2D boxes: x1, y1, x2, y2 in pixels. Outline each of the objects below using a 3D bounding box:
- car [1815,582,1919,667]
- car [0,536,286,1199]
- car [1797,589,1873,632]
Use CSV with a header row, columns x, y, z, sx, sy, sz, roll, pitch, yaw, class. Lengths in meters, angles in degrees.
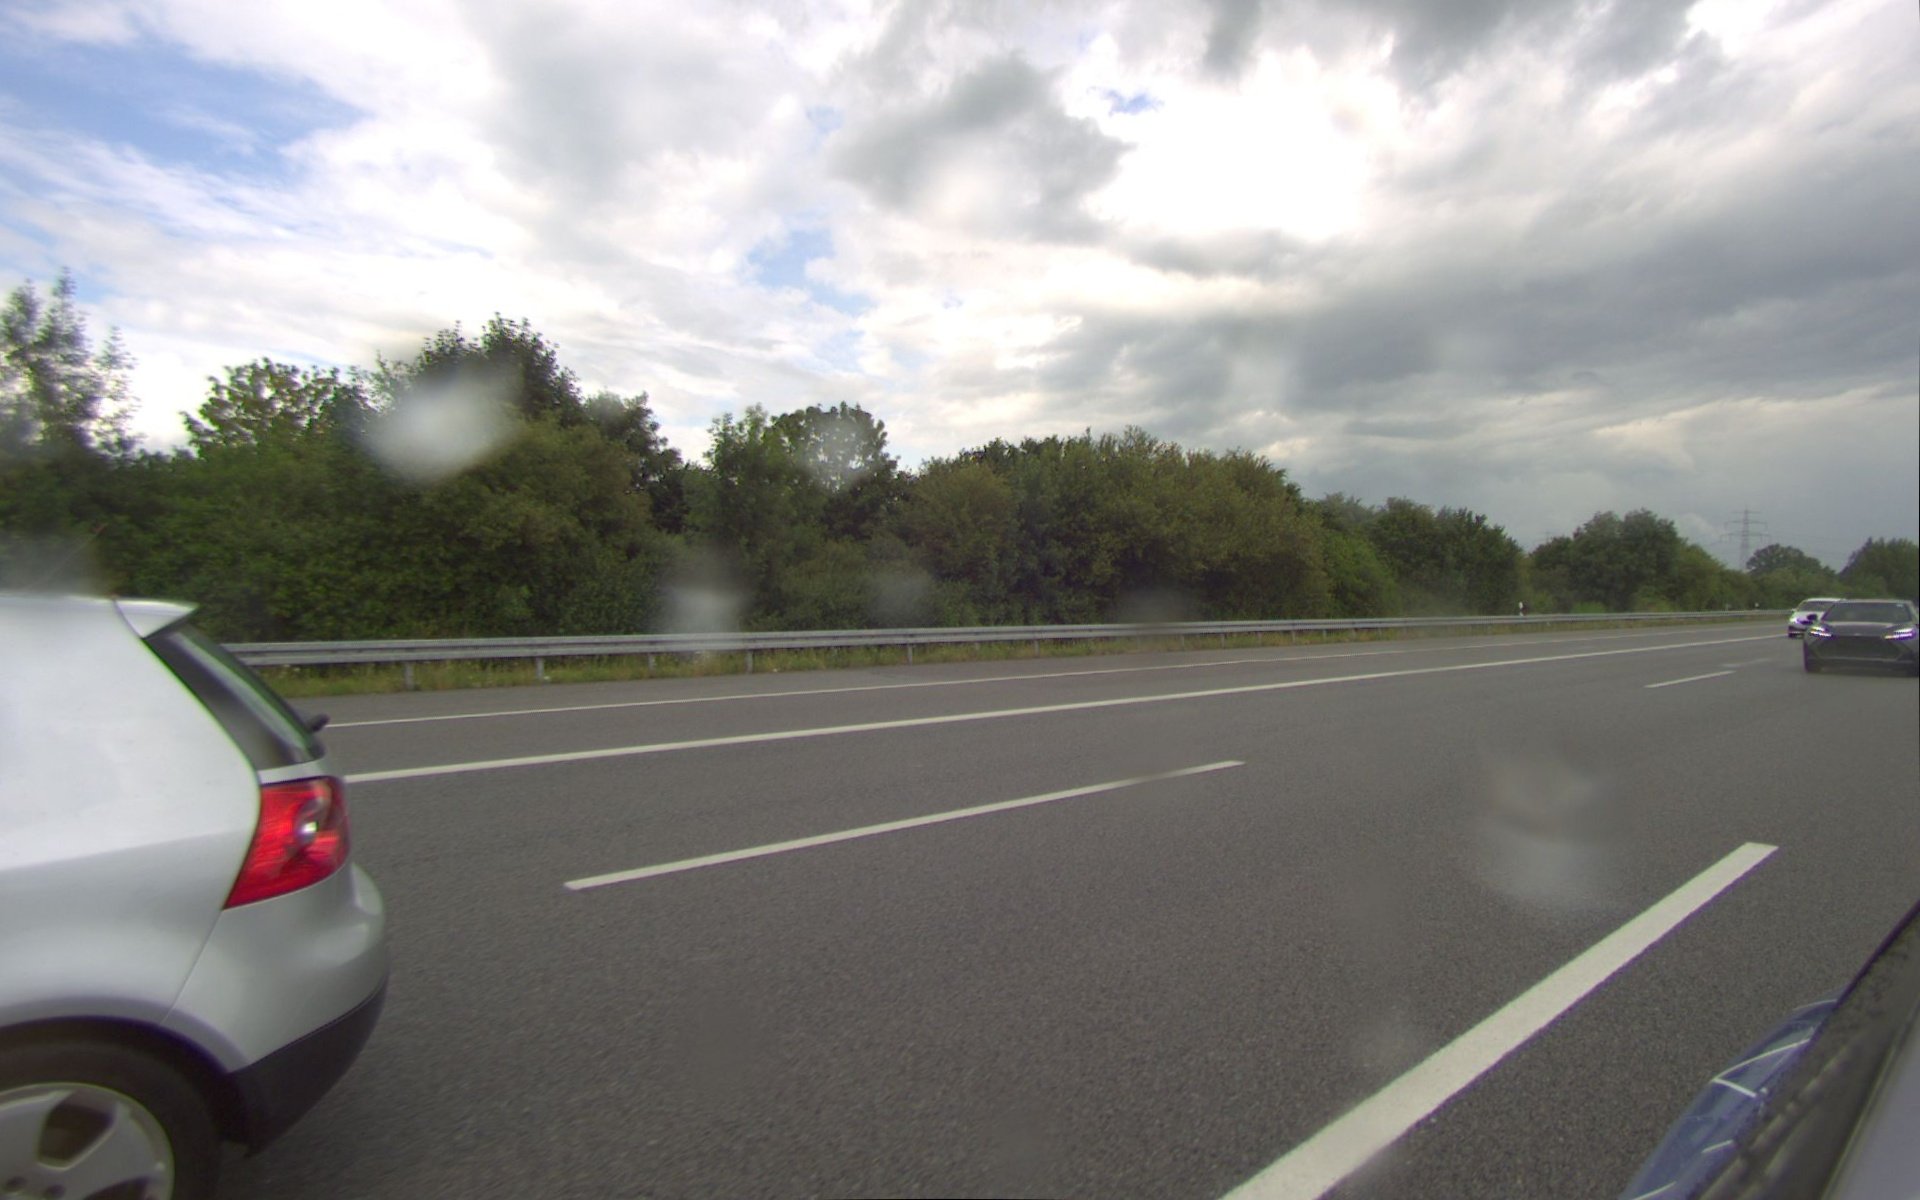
x,y,z,sx,sy,sz,roll,pitch,yaw,class
19.561,0.454,21.367,4.520,1.633,1.783,0,0,-43,car
-3.461,0.628,1.446,3.968,1.495,1.798,0,0,-42,car
35.235,0.381,40.699,4.616,1.619,1.812,0,0,-43,car
